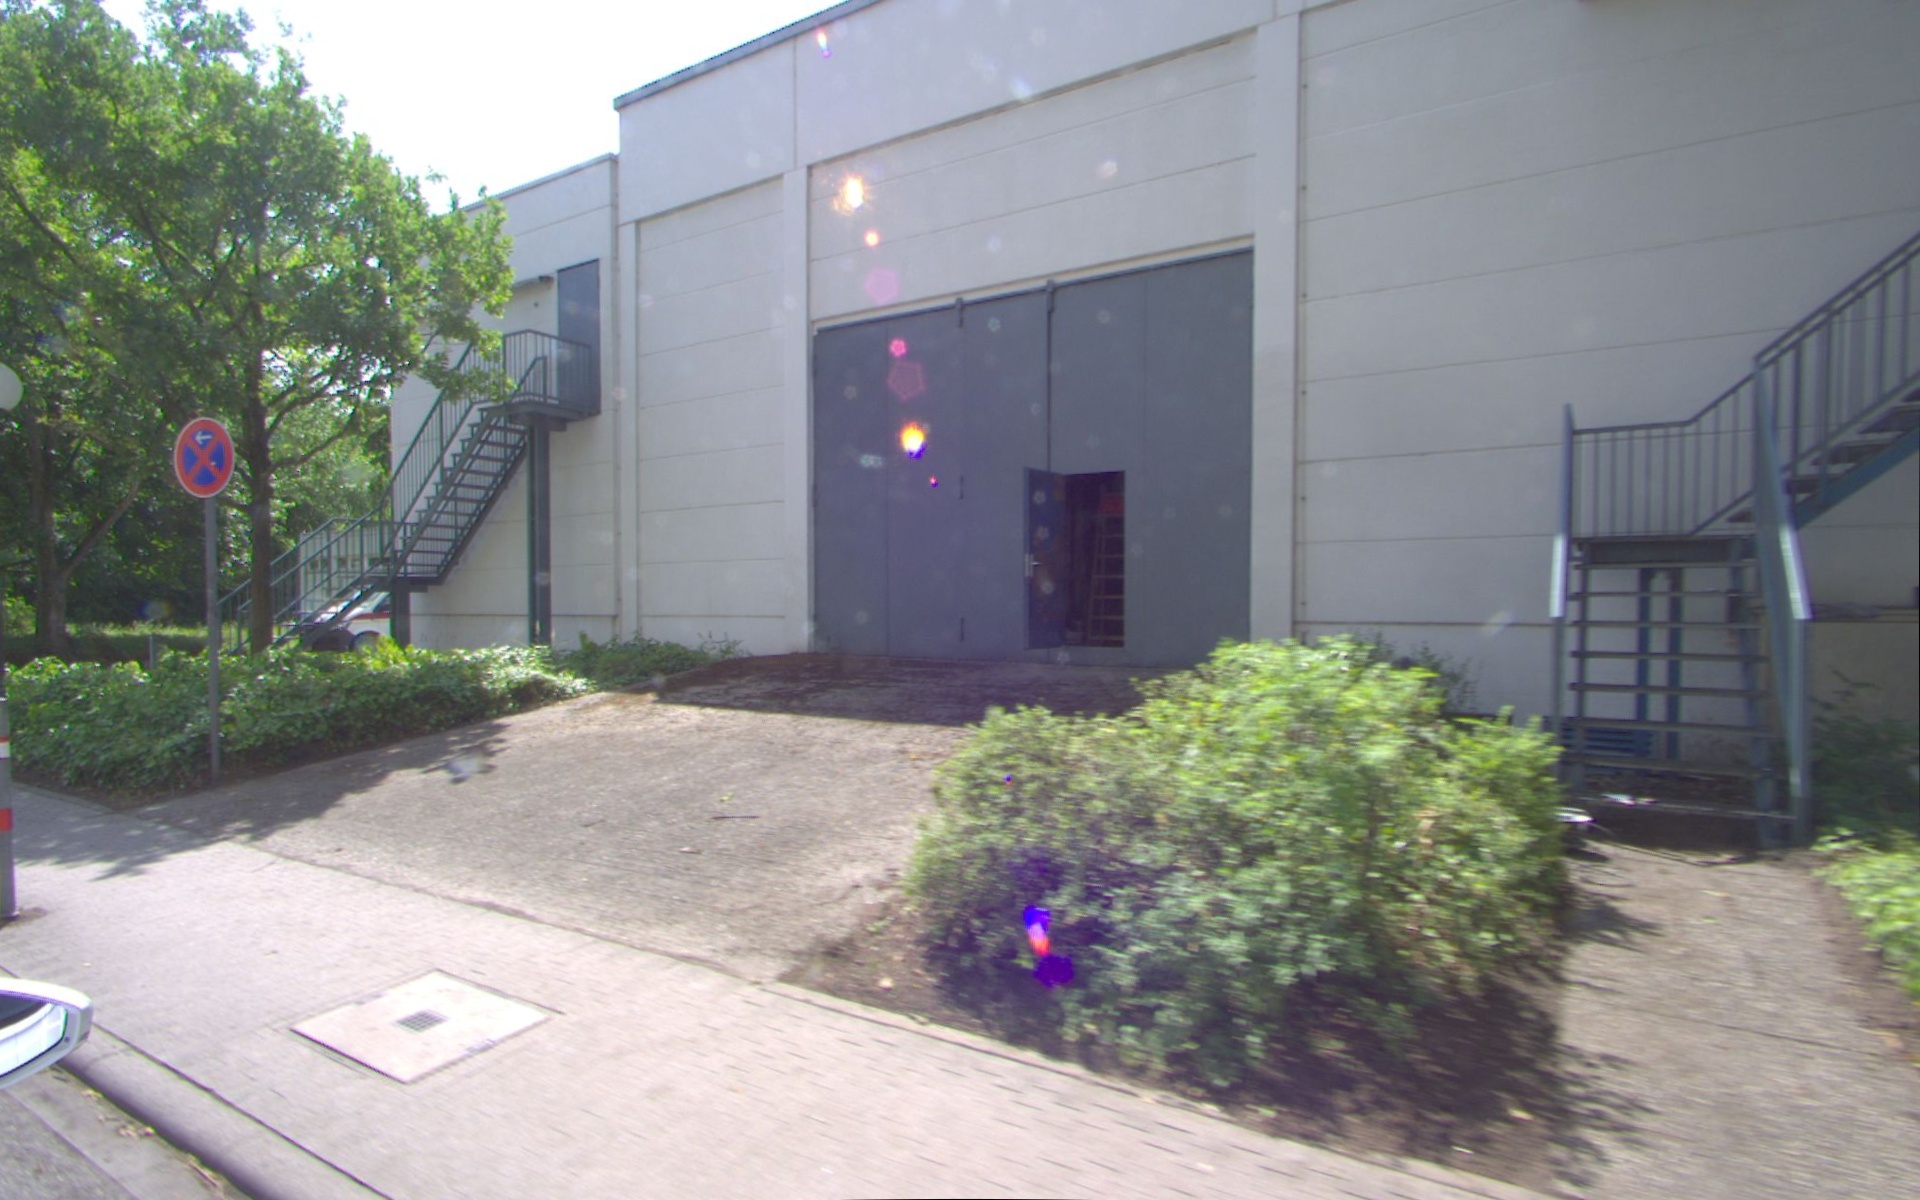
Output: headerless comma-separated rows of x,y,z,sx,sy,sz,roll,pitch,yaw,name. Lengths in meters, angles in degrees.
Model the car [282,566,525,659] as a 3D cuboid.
-13.413,0.279,24.462,2.033,2.040,4.814,0,0,33,car
